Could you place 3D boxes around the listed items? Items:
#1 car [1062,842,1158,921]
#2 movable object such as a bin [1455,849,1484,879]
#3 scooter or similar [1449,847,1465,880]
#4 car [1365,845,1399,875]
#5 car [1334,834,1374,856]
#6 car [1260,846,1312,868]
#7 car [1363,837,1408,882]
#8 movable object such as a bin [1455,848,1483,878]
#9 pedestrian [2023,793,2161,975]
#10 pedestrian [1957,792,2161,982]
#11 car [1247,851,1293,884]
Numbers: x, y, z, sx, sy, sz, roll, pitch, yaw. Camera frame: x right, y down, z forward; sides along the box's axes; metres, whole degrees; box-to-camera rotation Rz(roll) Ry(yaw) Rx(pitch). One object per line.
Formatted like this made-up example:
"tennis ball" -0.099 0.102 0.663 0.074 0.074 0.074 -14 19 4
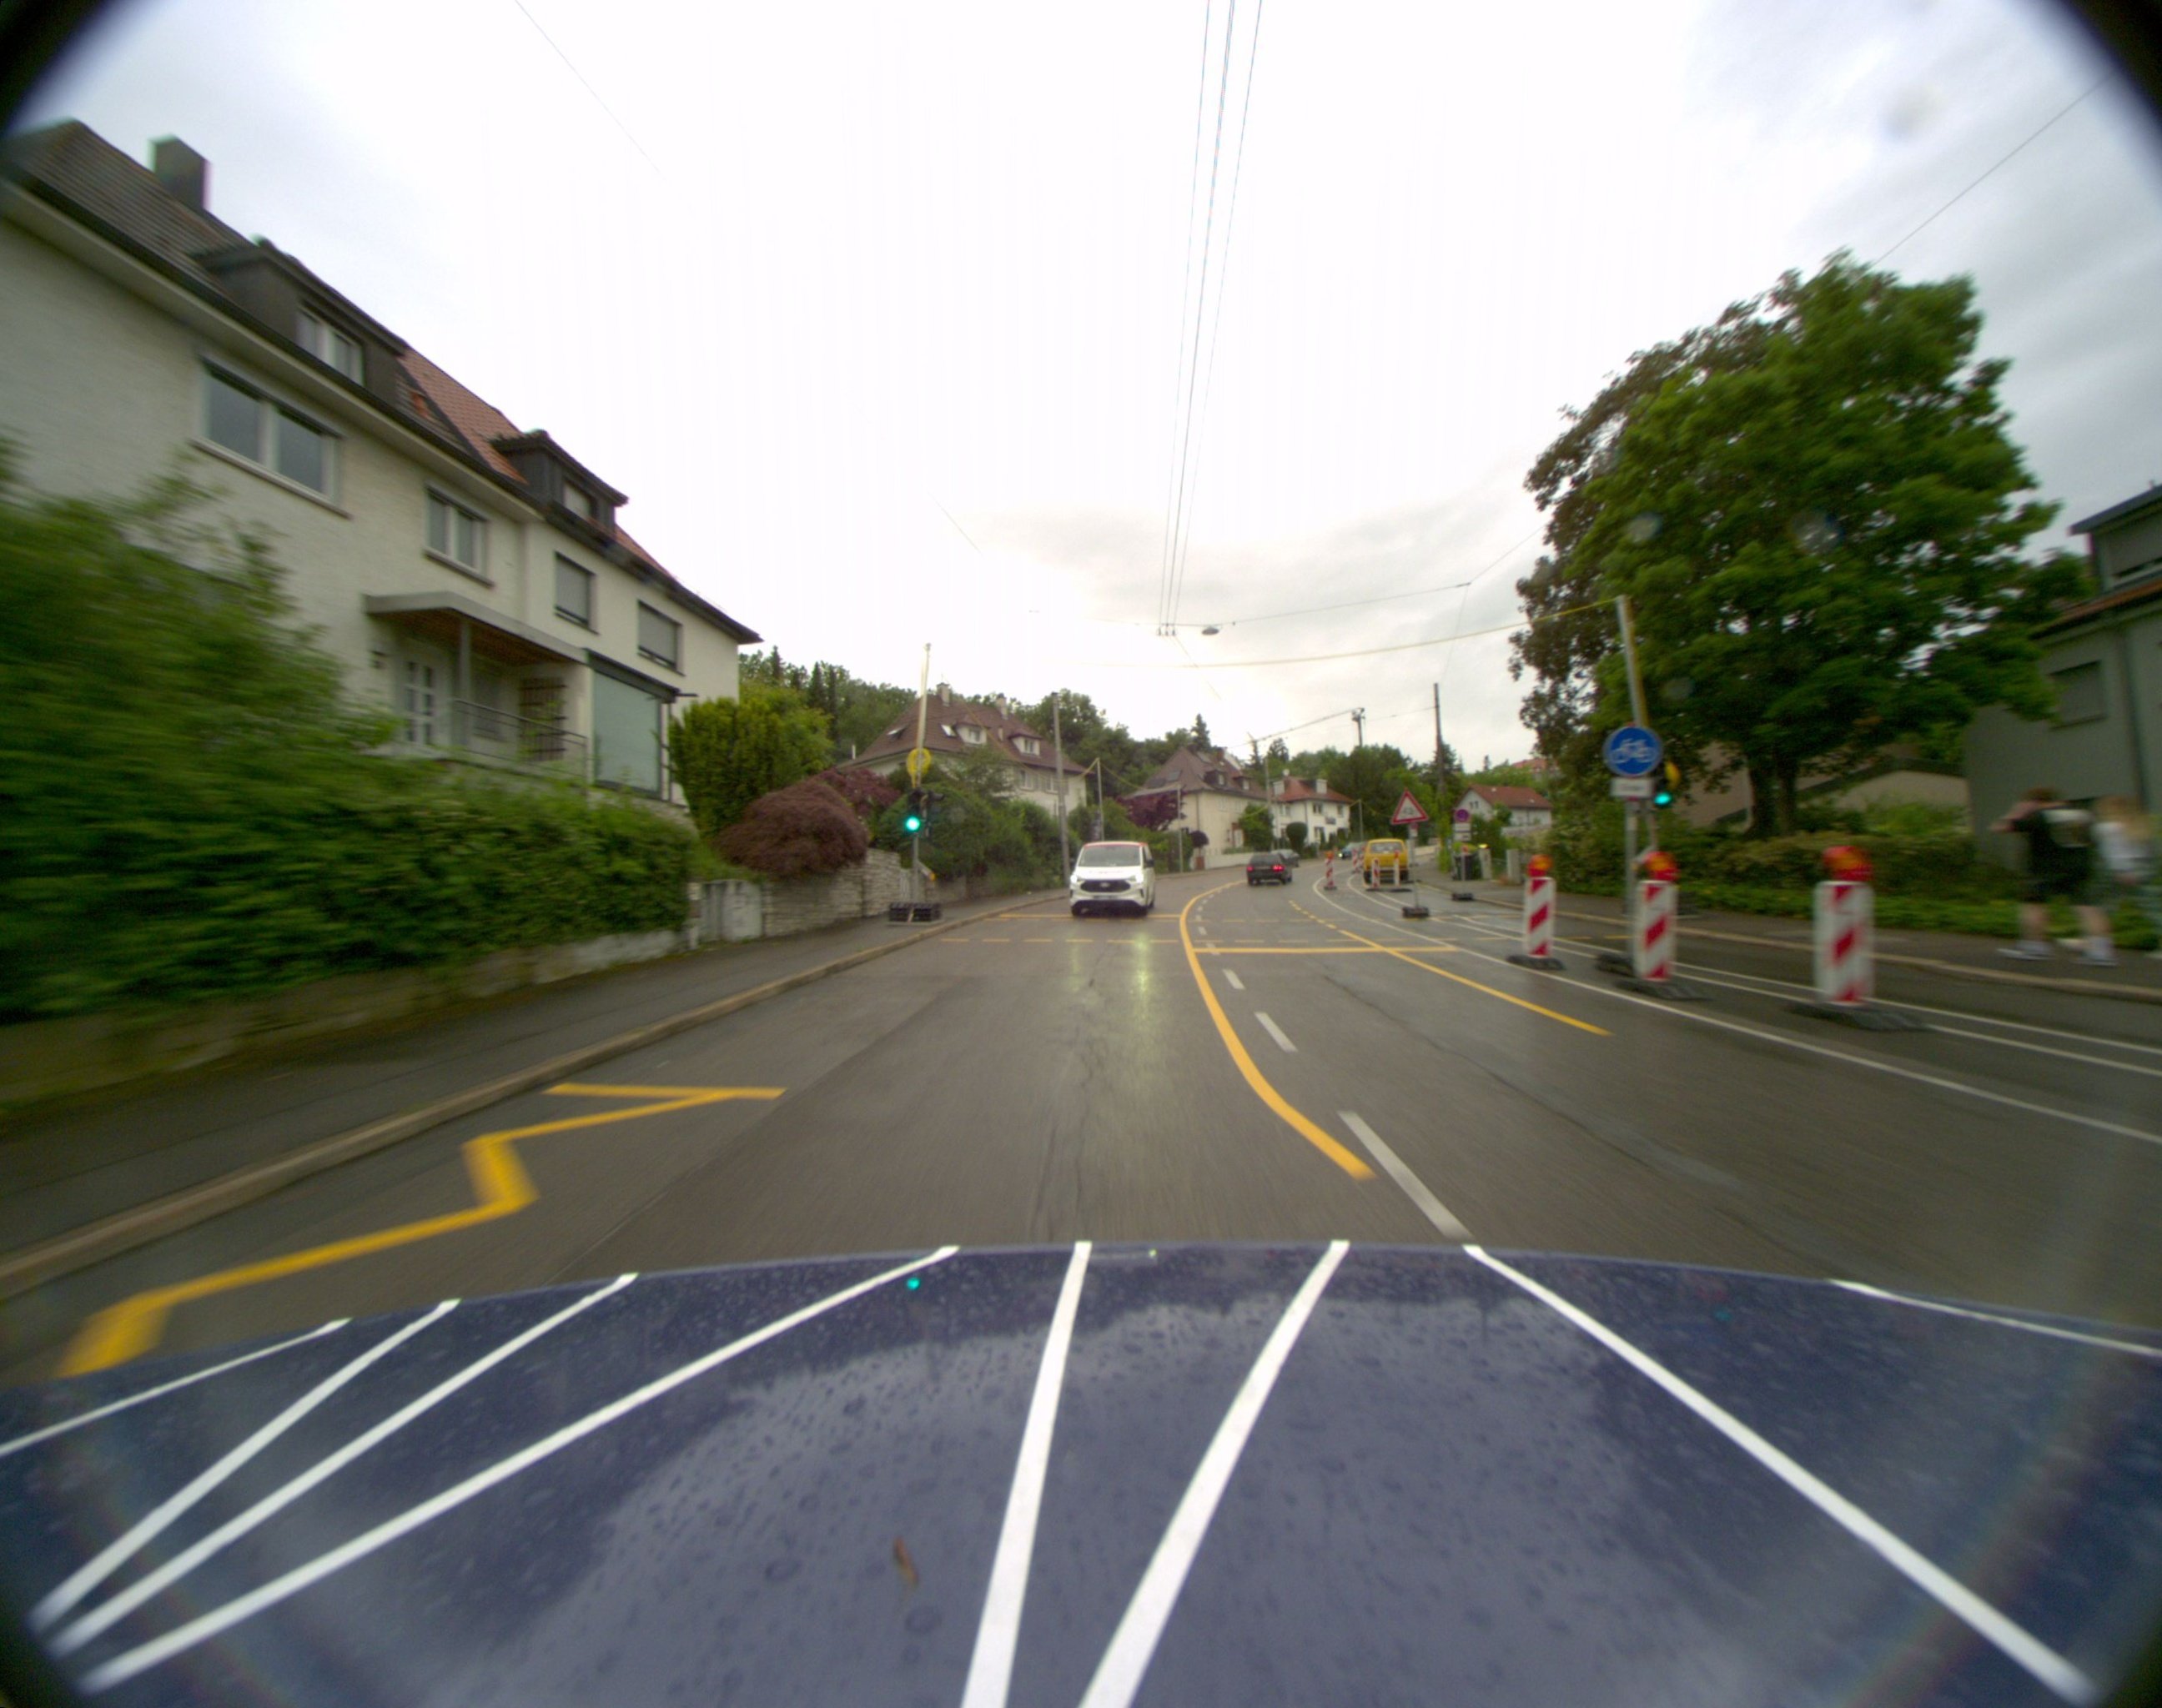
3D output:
"car" 0.929 0.640 21.009 2.040 1.928 4.518 0 1 10
"movable object such as a bin" 15.436 0.400 30.207 0.859 1.134 0.713 -3 2 18
"scooter or similar" 15.496 0.379 31.333 0.399 1.253 1.319 -6 0 30
"car" 16.202 0.286 40.819 1.576 1.446 3.469 -2 1 22
"car" 26.237 -0.878 72.926 4.007 1.928 2.011 -5 2 -44
"car" 15.760 0.186 58.214 1.985 1.428 4.523 -3 0 41
"car" 14.100 0.215 35.325 1.805 1.917 4.583 -1 1 20
"movable object such as a bin" 15.770 0.367 30.887 0.859 1.134 0.713 -3 2 18
"pedestrian" 11.051 0.287 8.012 0.682 1.806 1.156 -3 -1 1
"pedestrian" 10.200 0.330 7.914 0.709 1.806 1.147 -3 -1 1
"car" 9.068 0.592 36.171 1.701 1.452 4.690 -1 0 19
